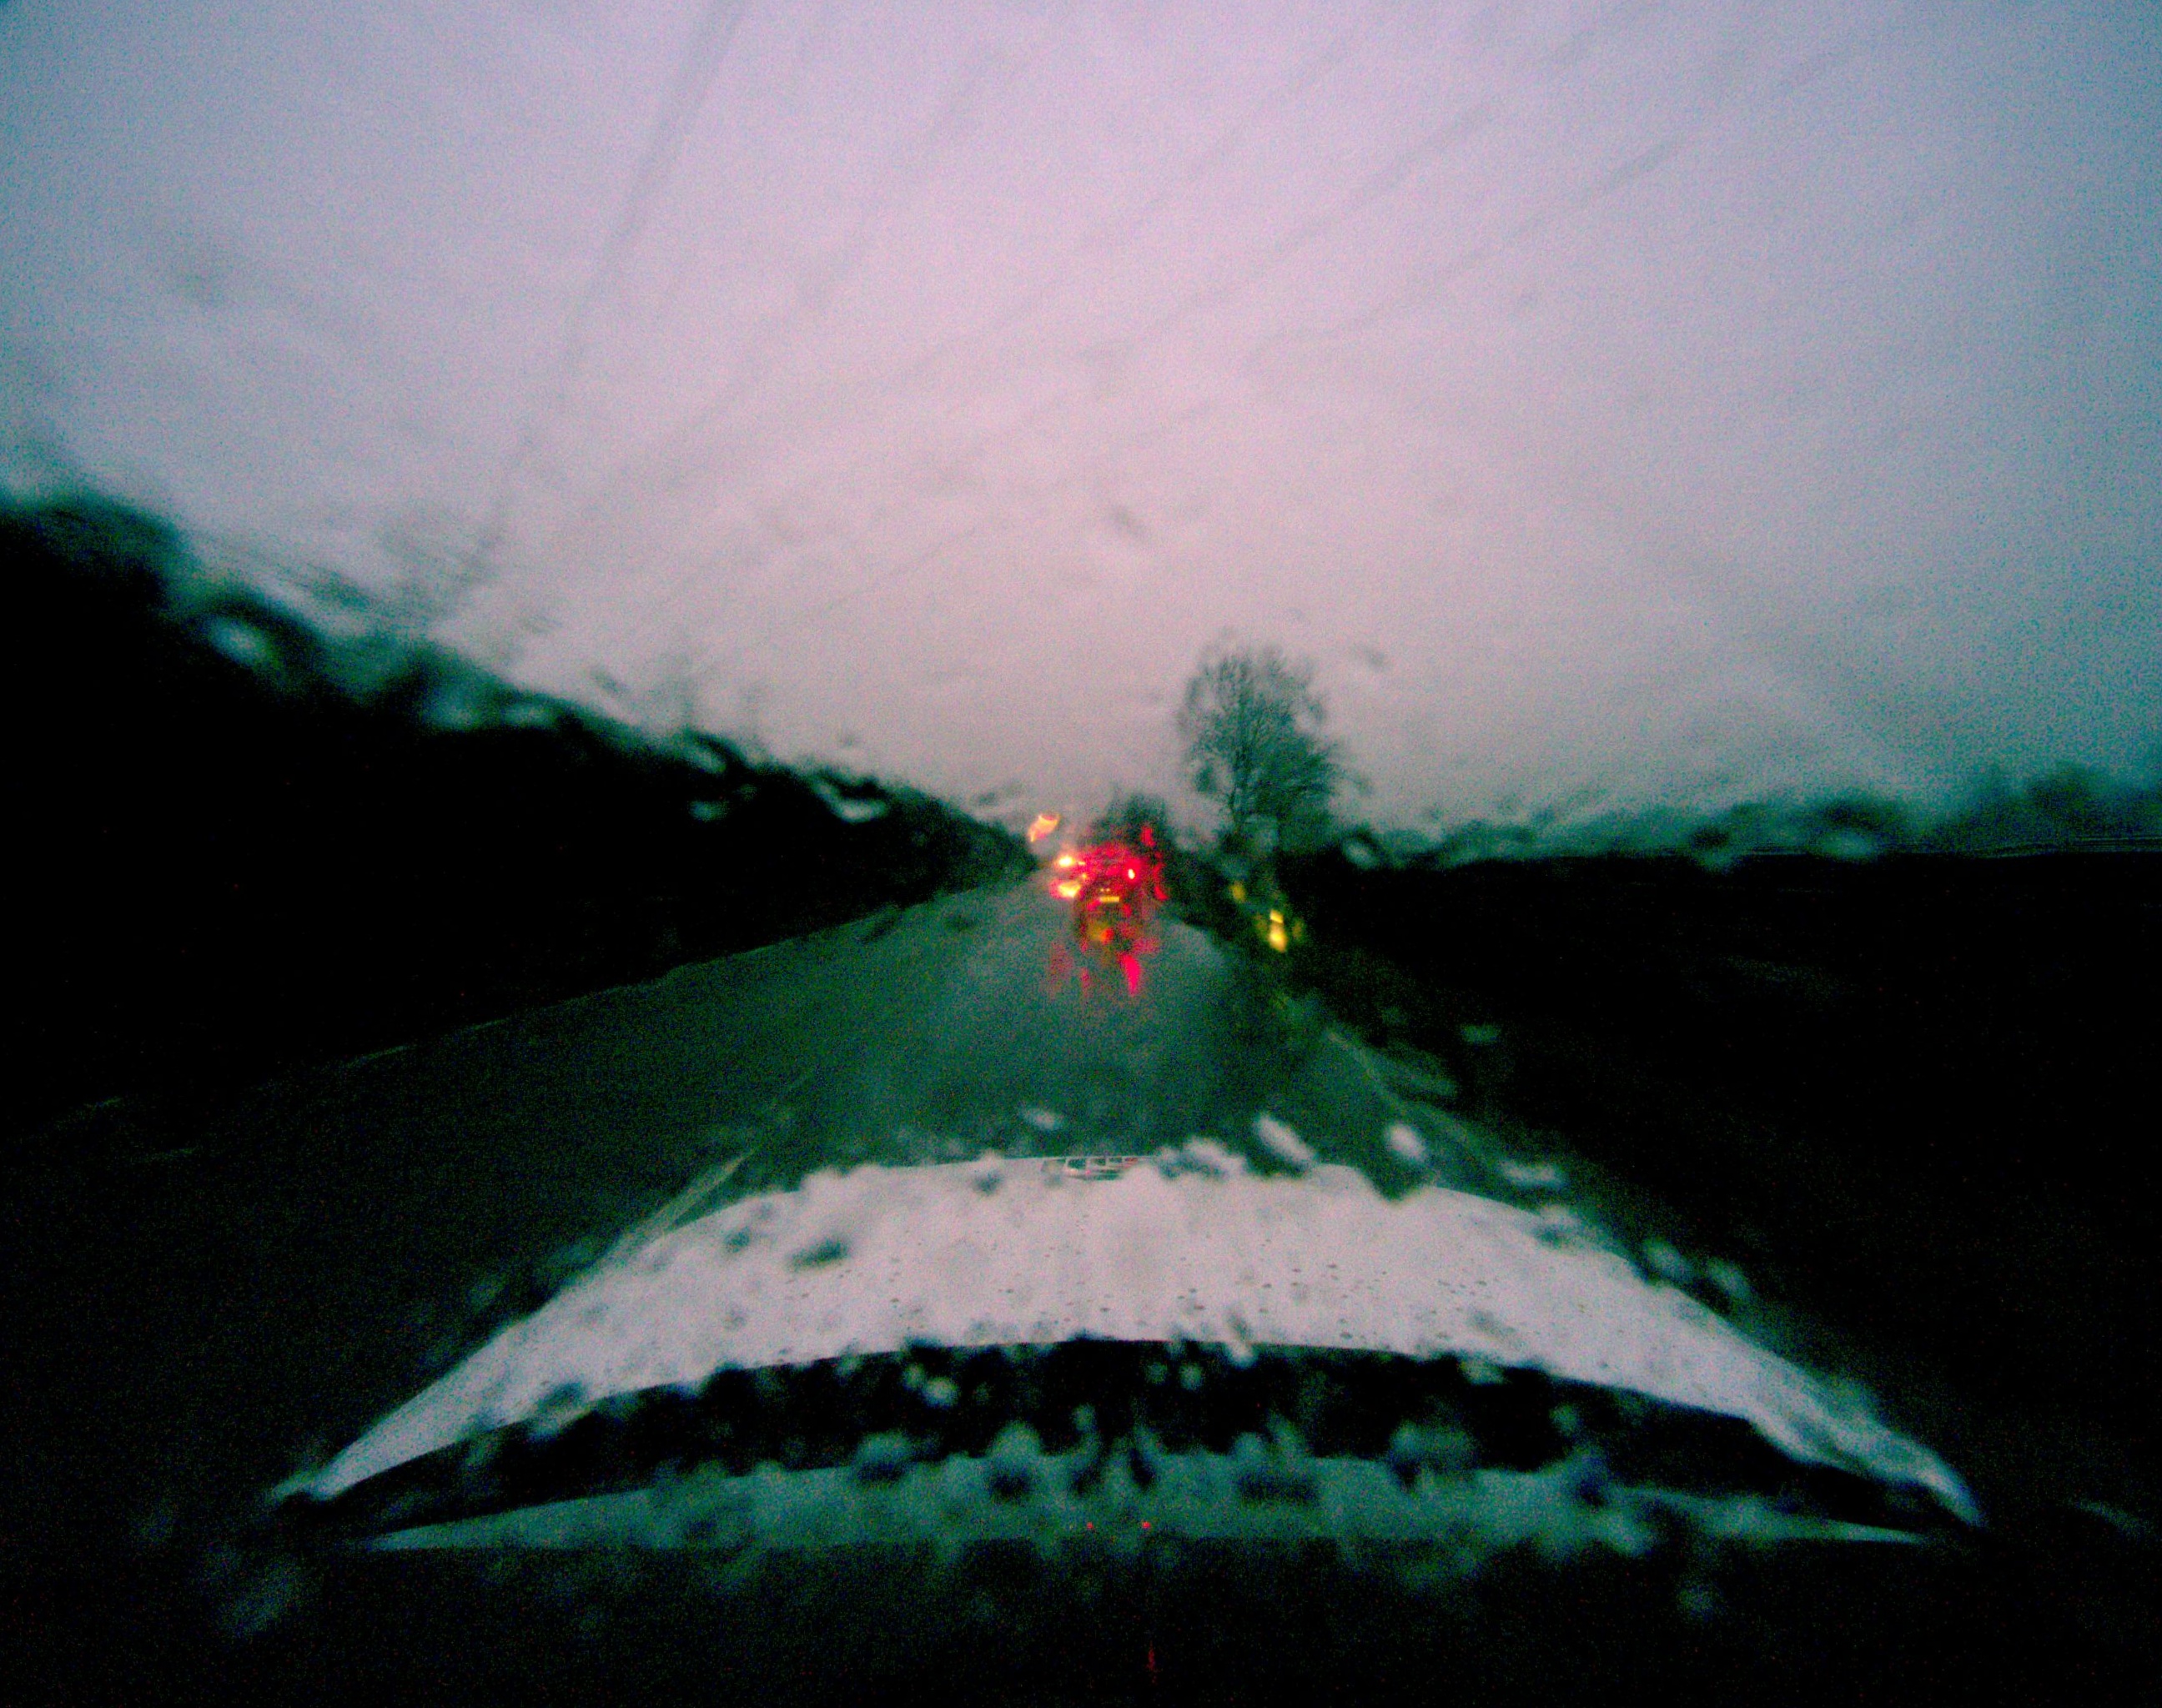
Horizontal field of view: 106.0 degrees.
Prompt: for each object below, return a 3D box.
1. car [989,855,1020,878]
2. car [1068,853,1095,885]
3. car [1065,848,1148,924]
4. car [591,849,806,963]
[{"bbox_3d":[-5.983,0.971,63.935,1.987,1.785,4.000,0,-1,0],"label":"car"},{"bbox_3d":[0.052,0.924,50.989,1.569,1.875,3.709,0,-1,1],"label":"car"},{"bbox_3d":[0.629,0.773,21.327,1.987,1.785,4.000,0,-1,0],"label":"car"},{"bbox_3d":[-6.231,0.779,13.783,1.770,1.609,3.773,-2,-1,0],"label":"car"}]
